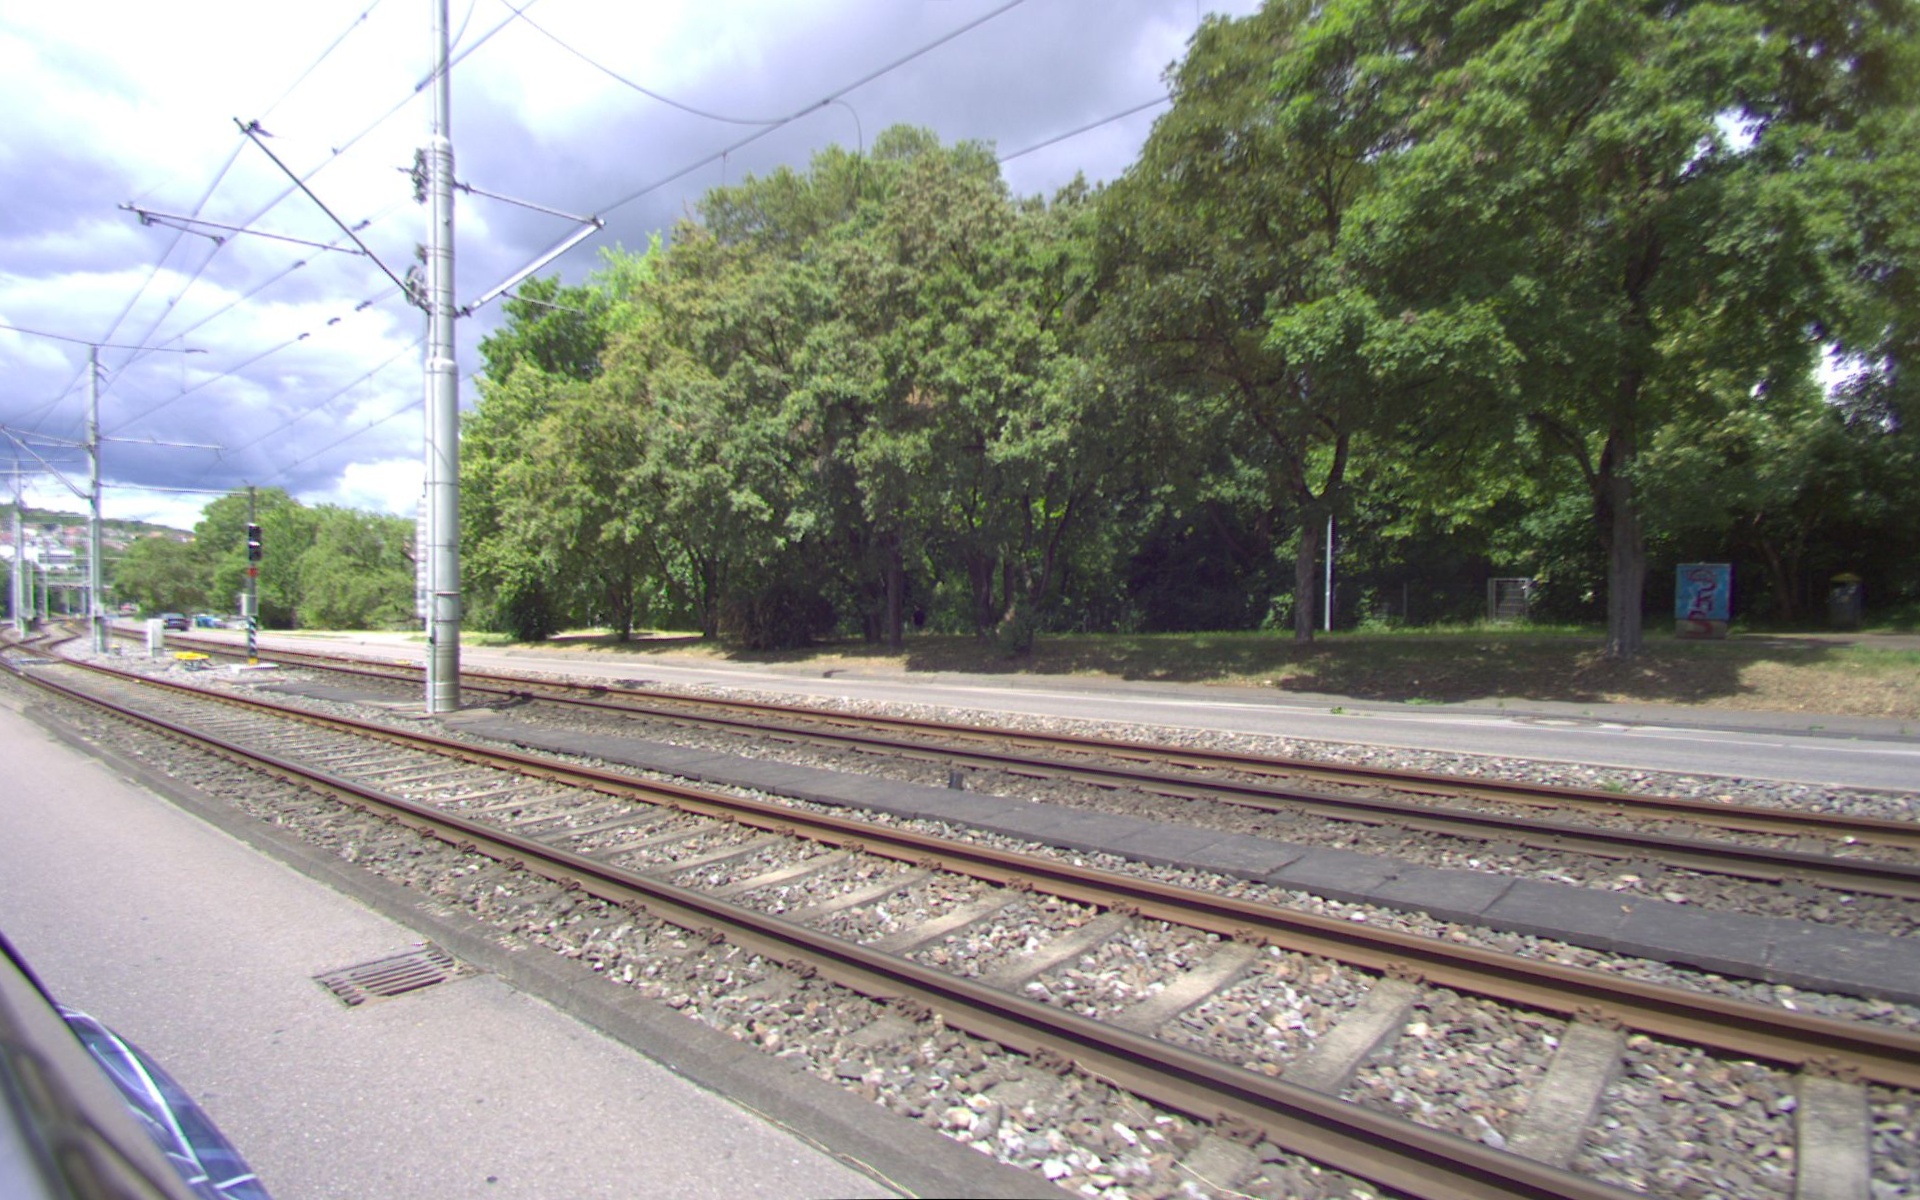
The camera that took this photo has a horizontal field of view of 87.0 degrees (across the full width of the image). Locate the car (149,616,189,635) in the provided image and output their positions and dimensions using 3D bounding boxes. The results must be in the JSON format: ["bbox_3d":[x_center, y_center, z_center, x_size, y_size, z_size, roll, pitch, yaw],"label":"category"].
[{"bbox_3d":[-62.609,2.011,80.084,4.864,1.402,1.815,-1,-2,45],"label":"car"}]

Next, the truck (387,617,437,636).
[{"bbox_3d":[-87.518,4.231,161.742,6.518,2.877,2.684,3,-3,-39],"label":"truck"}]
